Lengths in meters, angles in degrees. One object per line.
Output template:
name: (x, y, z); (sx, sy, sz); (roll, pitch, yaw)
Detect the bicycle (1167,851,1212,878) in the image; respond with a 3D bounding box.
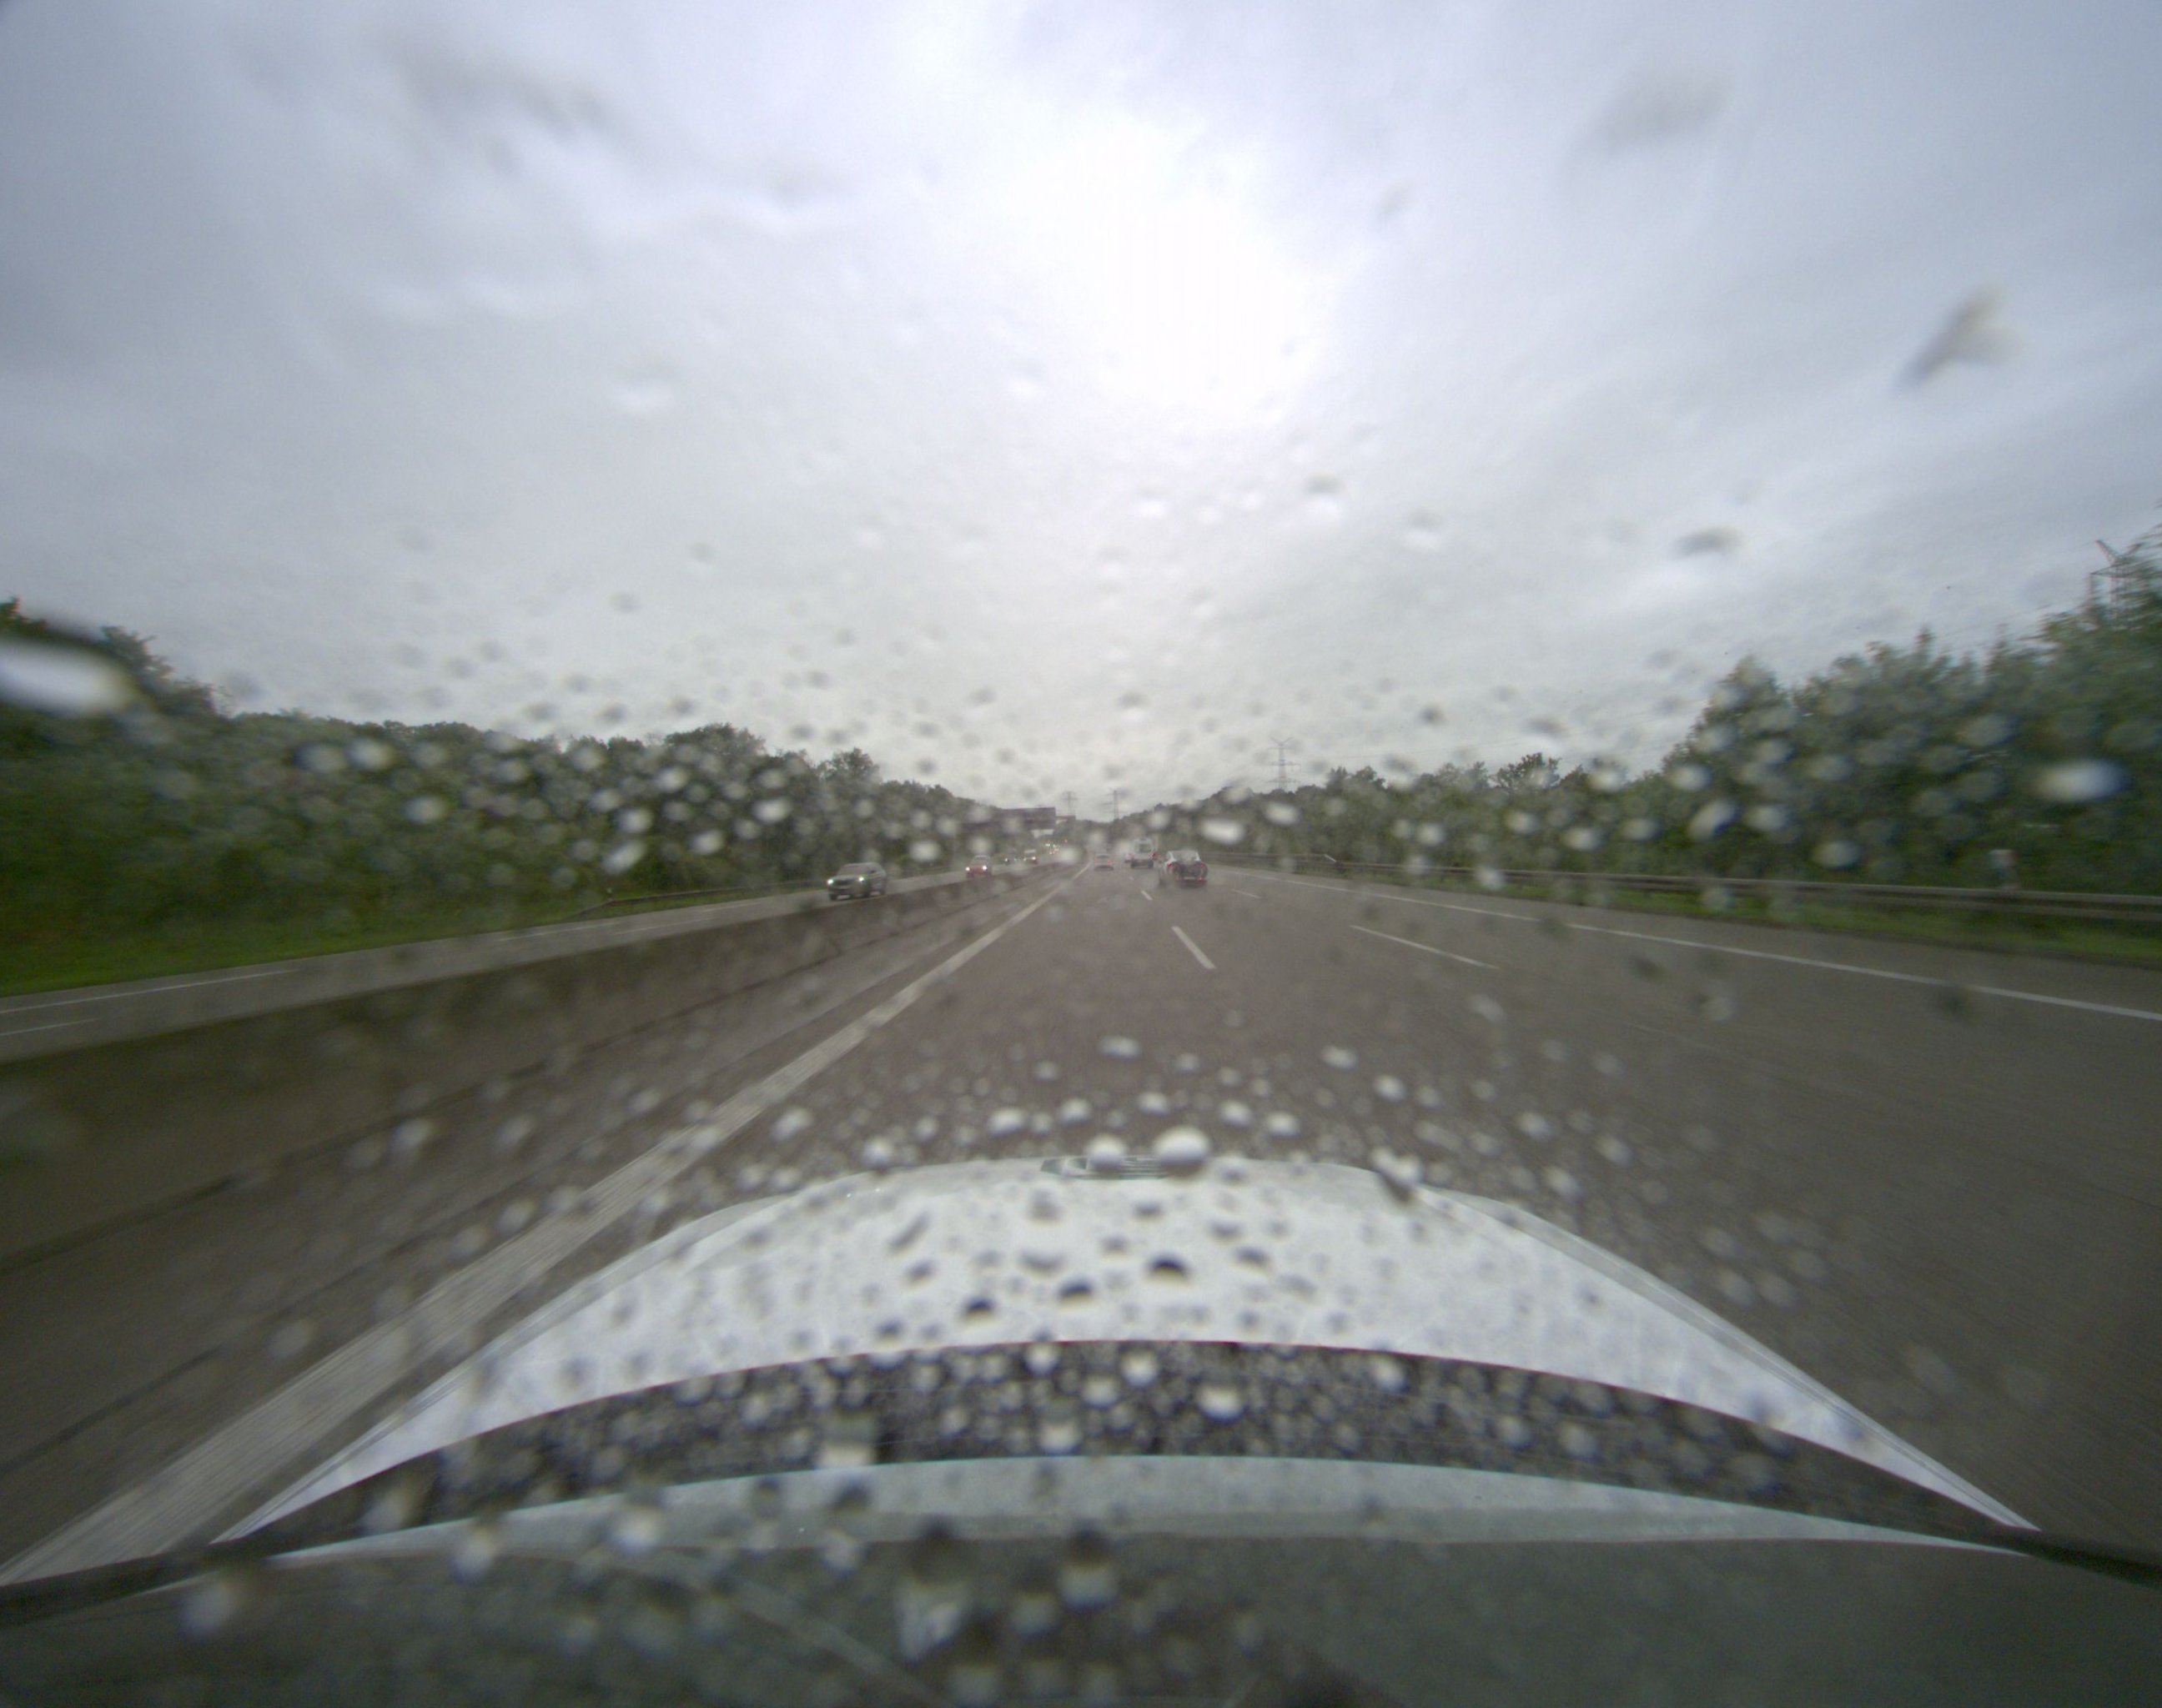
bicycle: (4.524, 0.447, 33.996); (1.748, 1.090, 0.913); (-1, -1, -1)

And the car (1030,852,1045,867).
car: (-7.231, 0.939, 135.963); (2.271, 2.331, 6.169); (-3, 0, -2)

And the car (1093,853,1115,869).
car: (2.063, 0.595, 72.461); (1.860, 1.288, 4.001); (-3, 0, 1)

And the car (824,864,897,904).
car: (-10.569, 1.383, 39.498); (1.986, 1.688, 4.918); (-3, 0, 2)

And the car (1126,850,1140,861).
car: (7.105, 0.159, 111.440); (1.850, 1.422, 4.002); (-1, 1, 2)

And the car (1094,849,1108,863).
car: (2.683, 0.307, 107.569); (1.839, 1.772, 4.001); (0, 0, 1)

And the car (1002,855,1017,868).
car: (-12.869, 1.318, 147.179); (1.986, 2.168, 6.418); (-3, 0, 1)

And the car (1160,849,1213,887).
car: (4.713, 0.566, 36.992); (1.853, 1.568, 4.965); (-1, 0, 1)

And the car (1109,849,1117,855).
car: (8.373, -0.464, 213.467); (1.986, 1.574, 4.001); (-3, 0, 1)

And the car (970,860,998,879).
car: (-8.121, 1.300, 68.260); (1.628, 1.412, 4.368); (-3, 0, 2)

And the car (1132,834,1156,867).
car: (5.959, -0.346, 77.466); (1.986, 2.864, 4.003); (-5, 0, 3)

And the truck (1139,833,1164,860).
truck: (11.761, -1.241, 137.717); (3.588, 4.332, 13.210); (-2, 0, 3)
